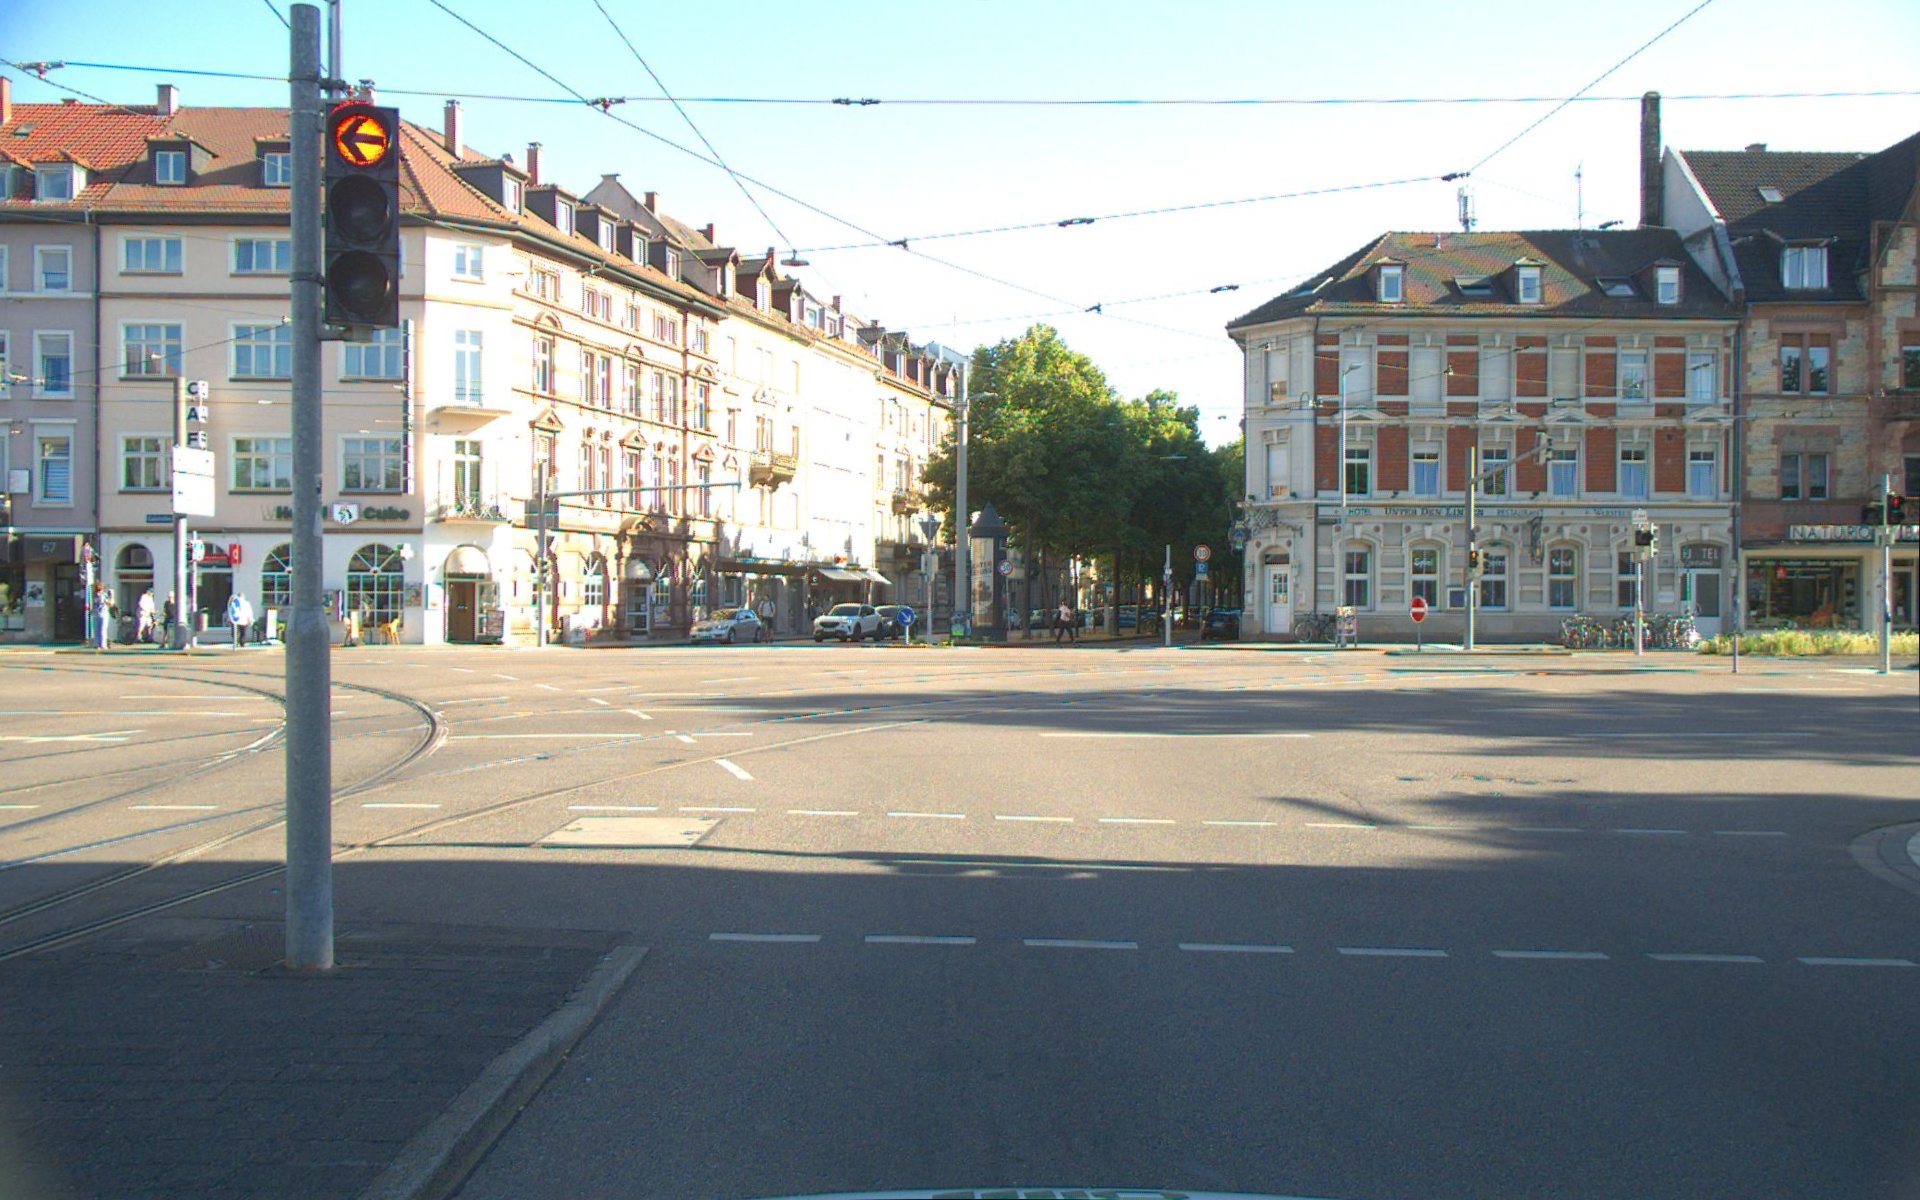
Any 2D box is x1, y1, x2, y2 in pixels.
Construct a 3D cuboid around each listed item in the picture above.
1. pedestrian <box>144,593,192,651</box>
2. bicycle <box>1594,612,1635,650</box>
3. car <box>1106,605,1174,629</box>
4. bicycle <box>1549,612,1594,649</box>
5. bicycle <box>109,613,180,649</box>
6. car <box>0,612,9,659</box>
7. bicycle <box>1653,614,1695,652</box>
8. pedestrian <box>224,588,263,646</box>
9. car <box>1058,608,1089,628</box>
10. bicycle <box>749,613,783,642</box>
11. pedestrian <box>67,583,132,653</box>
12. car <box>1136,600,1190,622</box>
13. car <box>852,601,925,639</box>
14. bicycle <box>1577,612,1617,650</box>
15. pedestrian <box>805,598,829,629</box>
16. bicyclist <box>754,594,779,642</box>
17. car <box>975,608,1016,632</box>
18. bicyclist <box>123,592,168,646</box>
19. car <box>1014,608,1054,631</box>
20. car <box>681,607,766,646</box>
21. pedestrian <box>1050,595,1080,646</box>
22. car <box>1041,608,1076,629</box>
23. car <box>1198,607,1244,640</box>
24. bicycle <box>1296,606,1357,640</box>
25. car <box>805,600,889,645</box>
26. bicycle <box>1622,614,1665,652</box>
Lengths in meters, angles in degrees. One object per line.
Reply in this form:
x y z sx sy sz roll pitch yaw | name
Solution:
-24.896 0.683 51.999 0.985 1.806 0.942 0 0 14 | pedestrian
21.162 0.990 53.499 0.605 1.163 2.175 0 0 4 | bicycle
12.562 1.195 115.569 4.290 1.640 1.998 0 0 26 | car
19.819 0.985 53.647 0.789 1.163 2.175 0 0 4 | bicycle
-27.410 1.030 55.616 2.048 1.202 0.631 0 0 -1 | bicycle
-32.401 1.143 51.938 3.907 1.478 1.999 0 0 -3 | car
23.034 1.055 53.387 0.596 1.156 2.136 0 0 4 | bicycle
-22.501 0.528 51.926 0.997 1.806 0.931 0 0 -33 | pedestrian
9.394 1.459 136.453 1.727 1.576 4.394 0 0 16 | car
-7.598 1.079 64.880 0.665 1.085 2.127 0 0 12 | bicycle
-21.571 0.447 41.485 1.058 1.714 1.103 0 0 -1 | pedestrian
16.420 0.882 133.862 3.912 1.736 1.996 0 0 30 | car
-3.150 0.860 73.779 1.951 1.640 4.393 0 0 17 | car
20.590 0.995 53.529 0.605 1.163 2.175 0 0 4 | bicycle
-7.455 0.702 86.186 0.908 1.562 1.138 0 0 13 | pedestrian
-7.587 0.692 64.922 0.664 1.852 1.071 0 0 12 | bicyclist
2.413 1.323 110.981 1.951 1.512 4.003 0 0 13 | car
-27.371 0.633 55.604 1.142 1.806 0.748 0 0 -2 | bicyclist
5.528 1.422 122.728 1.951 1.640 4.393 0 0 17 | car
-9.528 1.034 66.891 1.858 1.481 4.002 0 0 17 | car
3.701 0.723 58.019 1.024 1.774 0.809 0 0 5 | pedestrian
7.782 1.420 130.552 1.798 1.579 4.393 0 0 16 | car
13.069 1.157 82.623 1.951 1.613 4.003 0 0 13 | car
12.748 0.815 57.573 2.045 1.144 0.366 1 -1 -5 | bicycle
-4.544 0.882 67.244 1.951 1.713 4.393 0 0 17 | car
22.070 1.052 53.439 0.605 1.163 2.175 0 0 4 | bicycle
